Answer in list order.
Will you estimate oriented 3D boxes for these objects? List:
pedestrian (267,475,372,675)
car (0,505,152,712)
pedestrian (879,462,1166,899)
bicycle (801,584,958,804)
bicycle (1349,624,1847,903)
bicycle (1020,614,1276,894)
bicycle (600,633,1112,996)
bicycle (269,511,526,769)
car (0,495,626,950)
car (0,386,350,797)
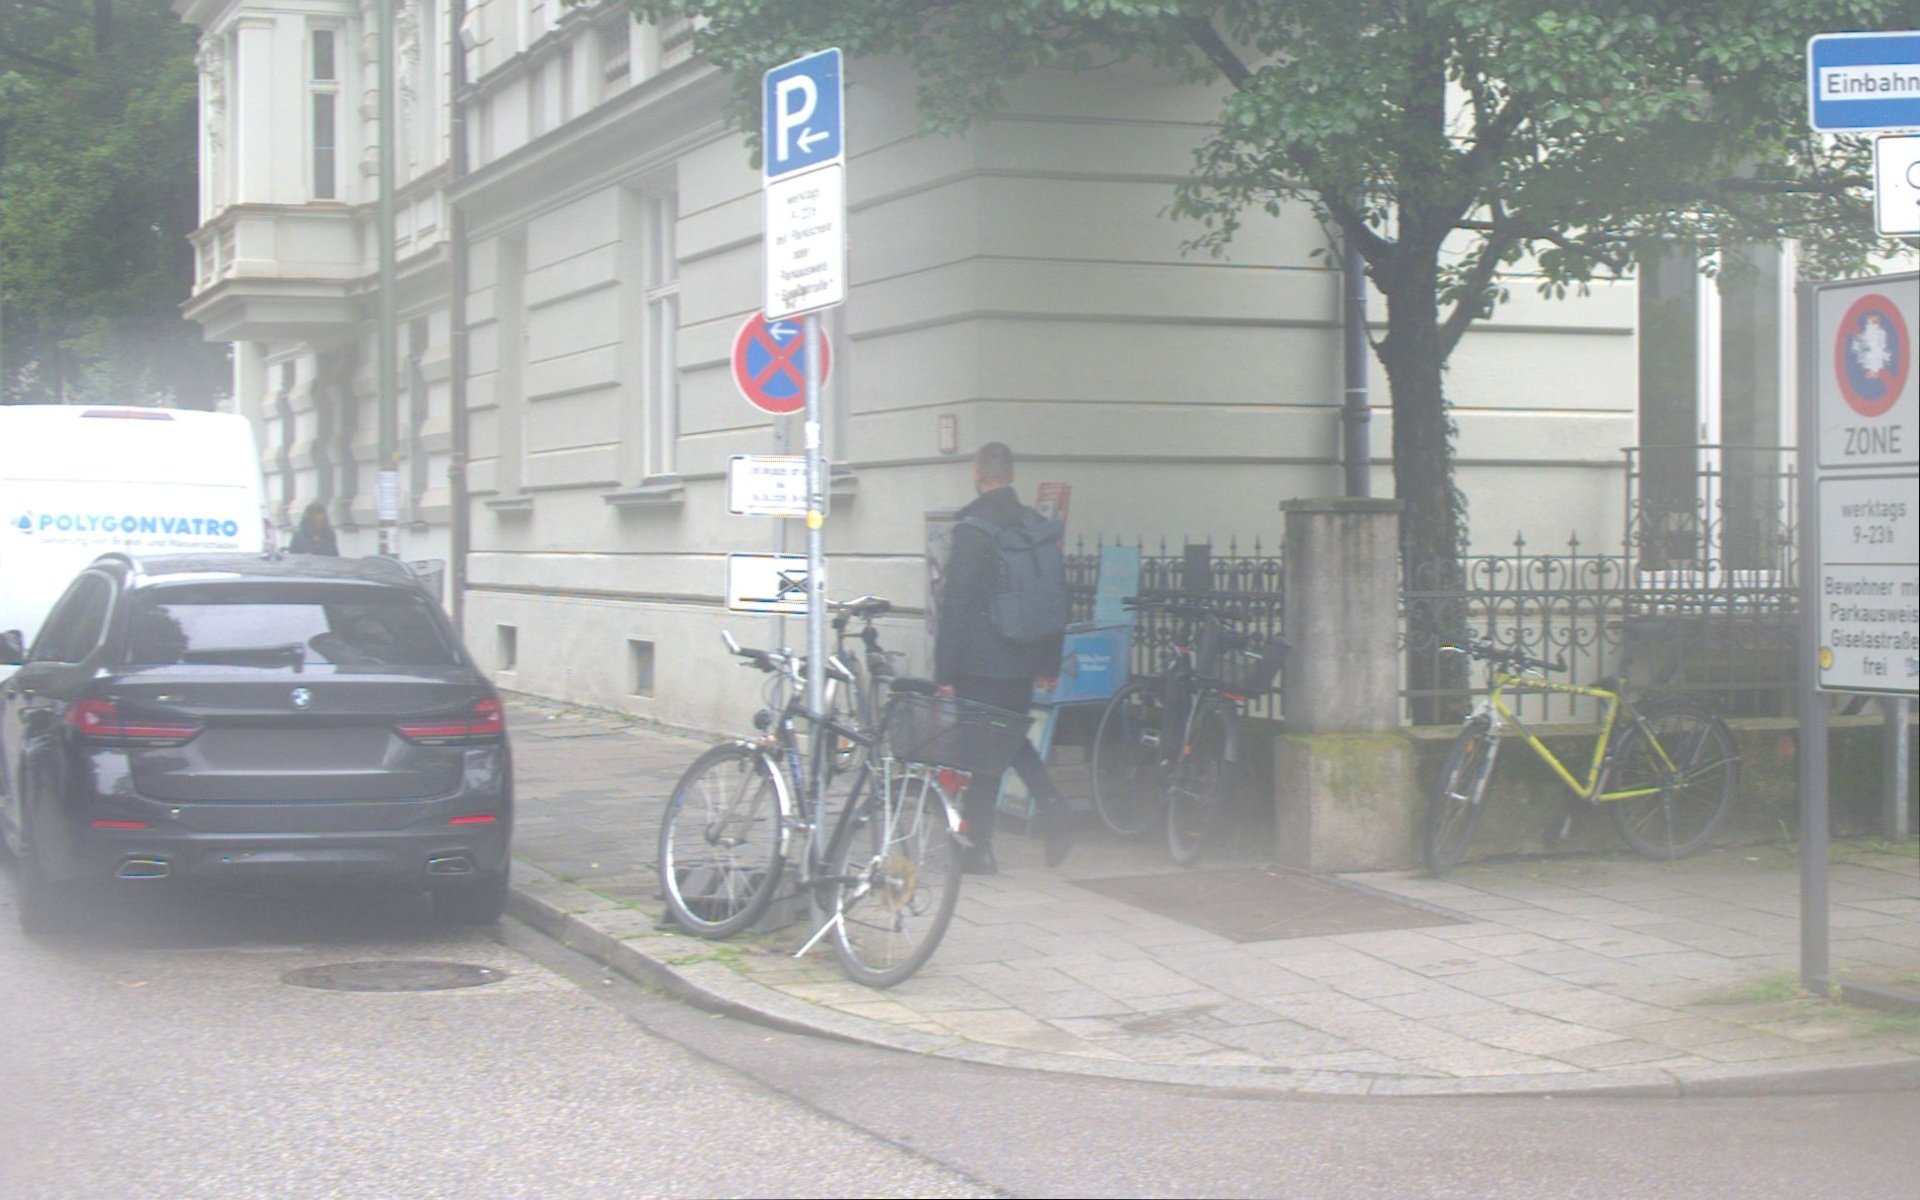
[{"bbox_3d":[-5.954,-0.239,31.941,0.859,1.829,0.667,-1,1,-18],"label":"pedestrian"},{"bbox_3d":[-8.338,0.055,29.437,2.137,1.624,4.317,-2,1,-21],"label":"car"},{"bbox_3d":[0.240,0.299,13.917,0.857,1.683,0.976,-2,1,-18],"label":"pedestrian"},{"bbox_3d":[-0.438,0.463,17.941,0.546,1.056,1.751,0,1,-10],"label":"bicycle"},{"bbox_3d":[2.567,0.637,13.837,1.922,1.024,0.557,-1,2,-17],"label":"bicycle"},{"bbox_3d":[0.769,0.616,14.598,0.429,1.024,1.891,-1,2,-18],"label":"bicycle"},{"bbox_3d":[-0.409,0.680,11.810,0.654,1.024,2.202,-2,3,-35],"label":"bicycle"},{"bbox_3d":[-3.496,0.213,21.241,0.707,1.510,2.038,-1,2,-36],"label":"bicycle"},{"bbox_3d":[-3.032,0.388,14.544,2.272,1.541,4.588,-2,1,-18],"label":"car"},{"bbox_3d":[-5.349,-0.089,21.107,2.203,2.200,4.856,-2,1,-21],"label":"car"}]
